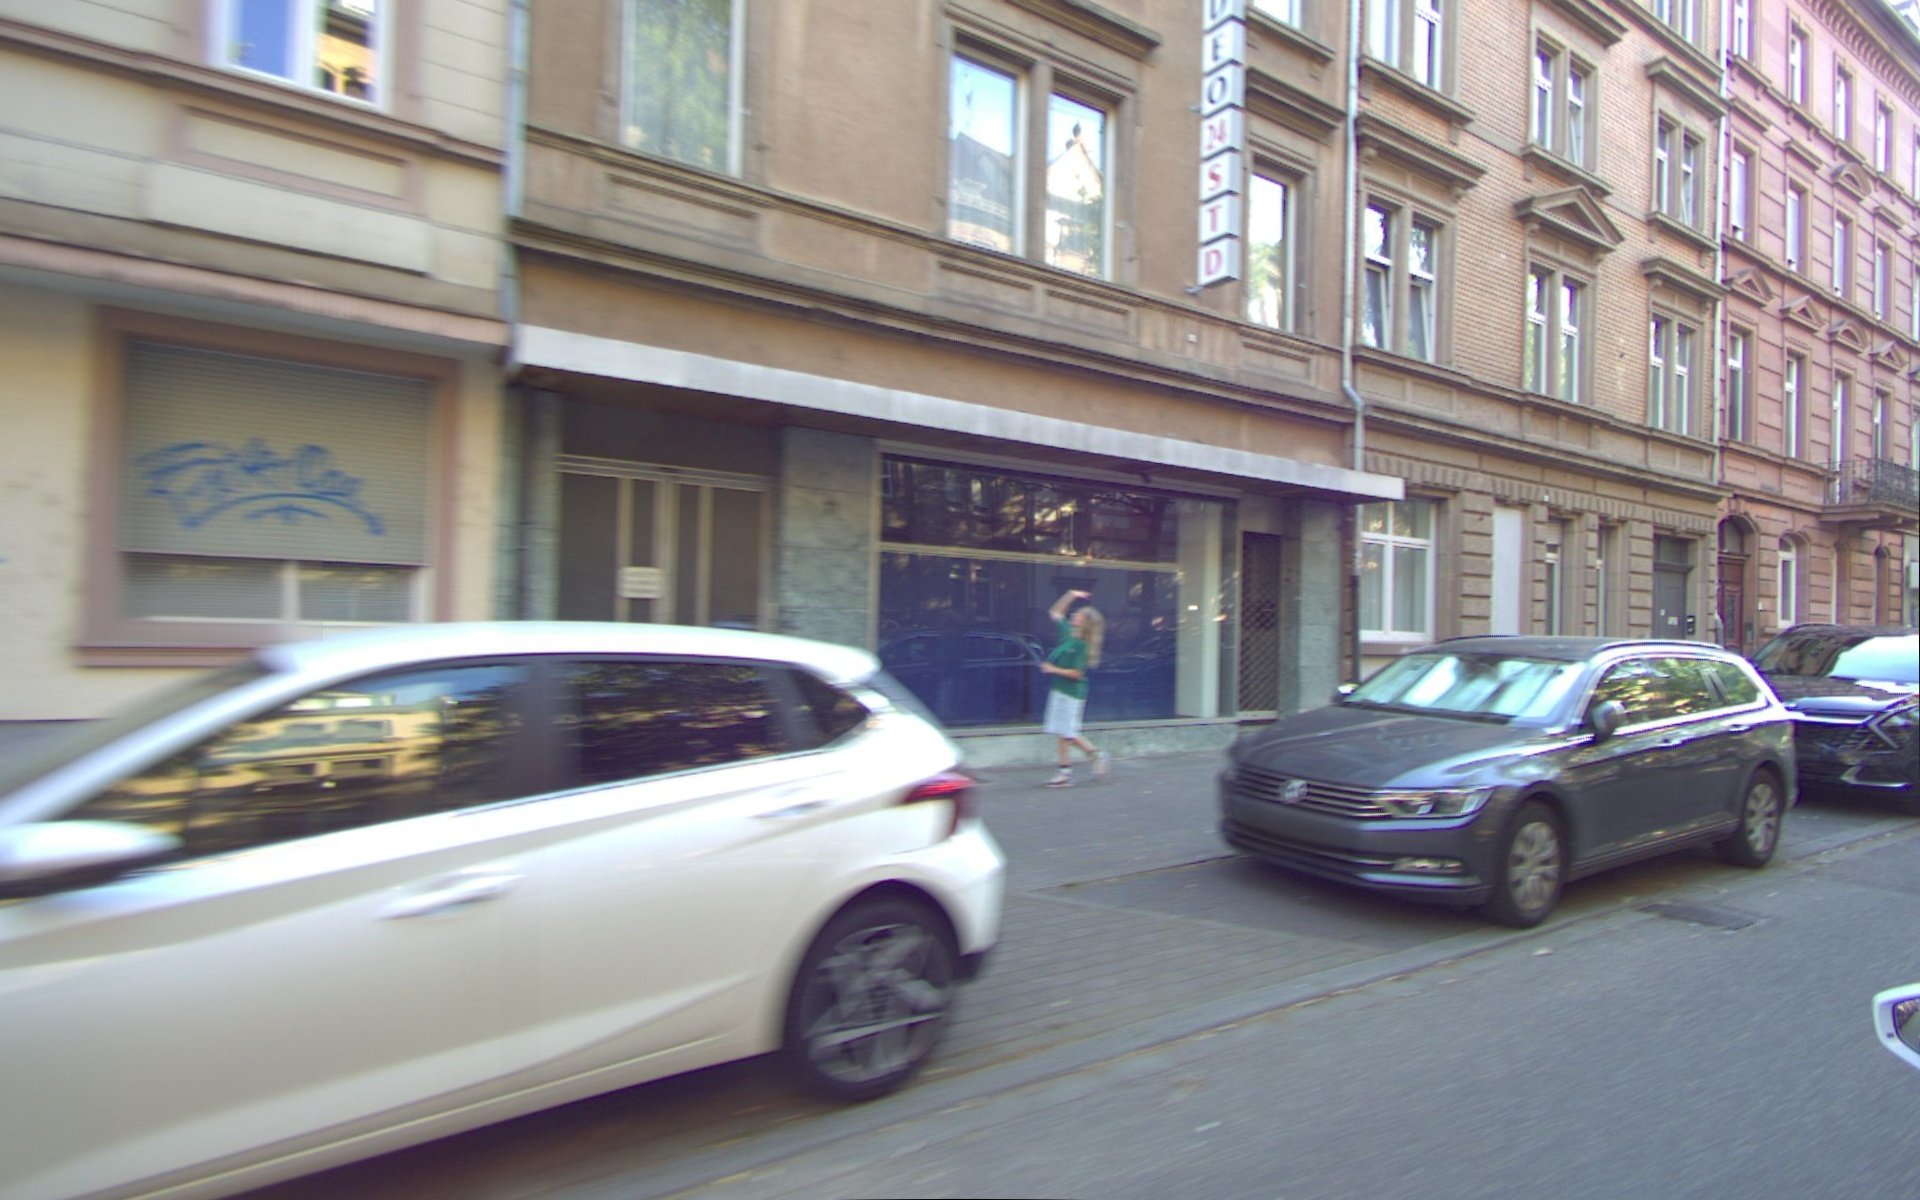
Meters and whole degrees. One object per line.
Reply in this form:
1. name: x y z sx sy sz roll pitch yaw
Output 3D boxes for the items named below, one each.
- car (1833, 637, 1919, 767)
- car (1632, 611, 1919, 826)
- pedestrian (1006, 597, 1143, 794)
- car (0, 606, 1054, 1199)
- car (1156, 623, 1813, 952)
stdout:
1. car: 12.843 1.236 12.543 4.267 1.445 1.810 2 0 -33
2. car: 8.512 0.973 9.702 4.267 1.621 1.810 1 0 -33
3. pedestrian: 1.026 0.816 9.014 1.008 1.653 0.691 1 -1 -34
4. car: -1.828 0.782 3.097 4.045 1.492 1.746 1 -1 -34
5. car: 3.570 0.924 6.587 4.439 1.492 1.852 1 -1 -32
